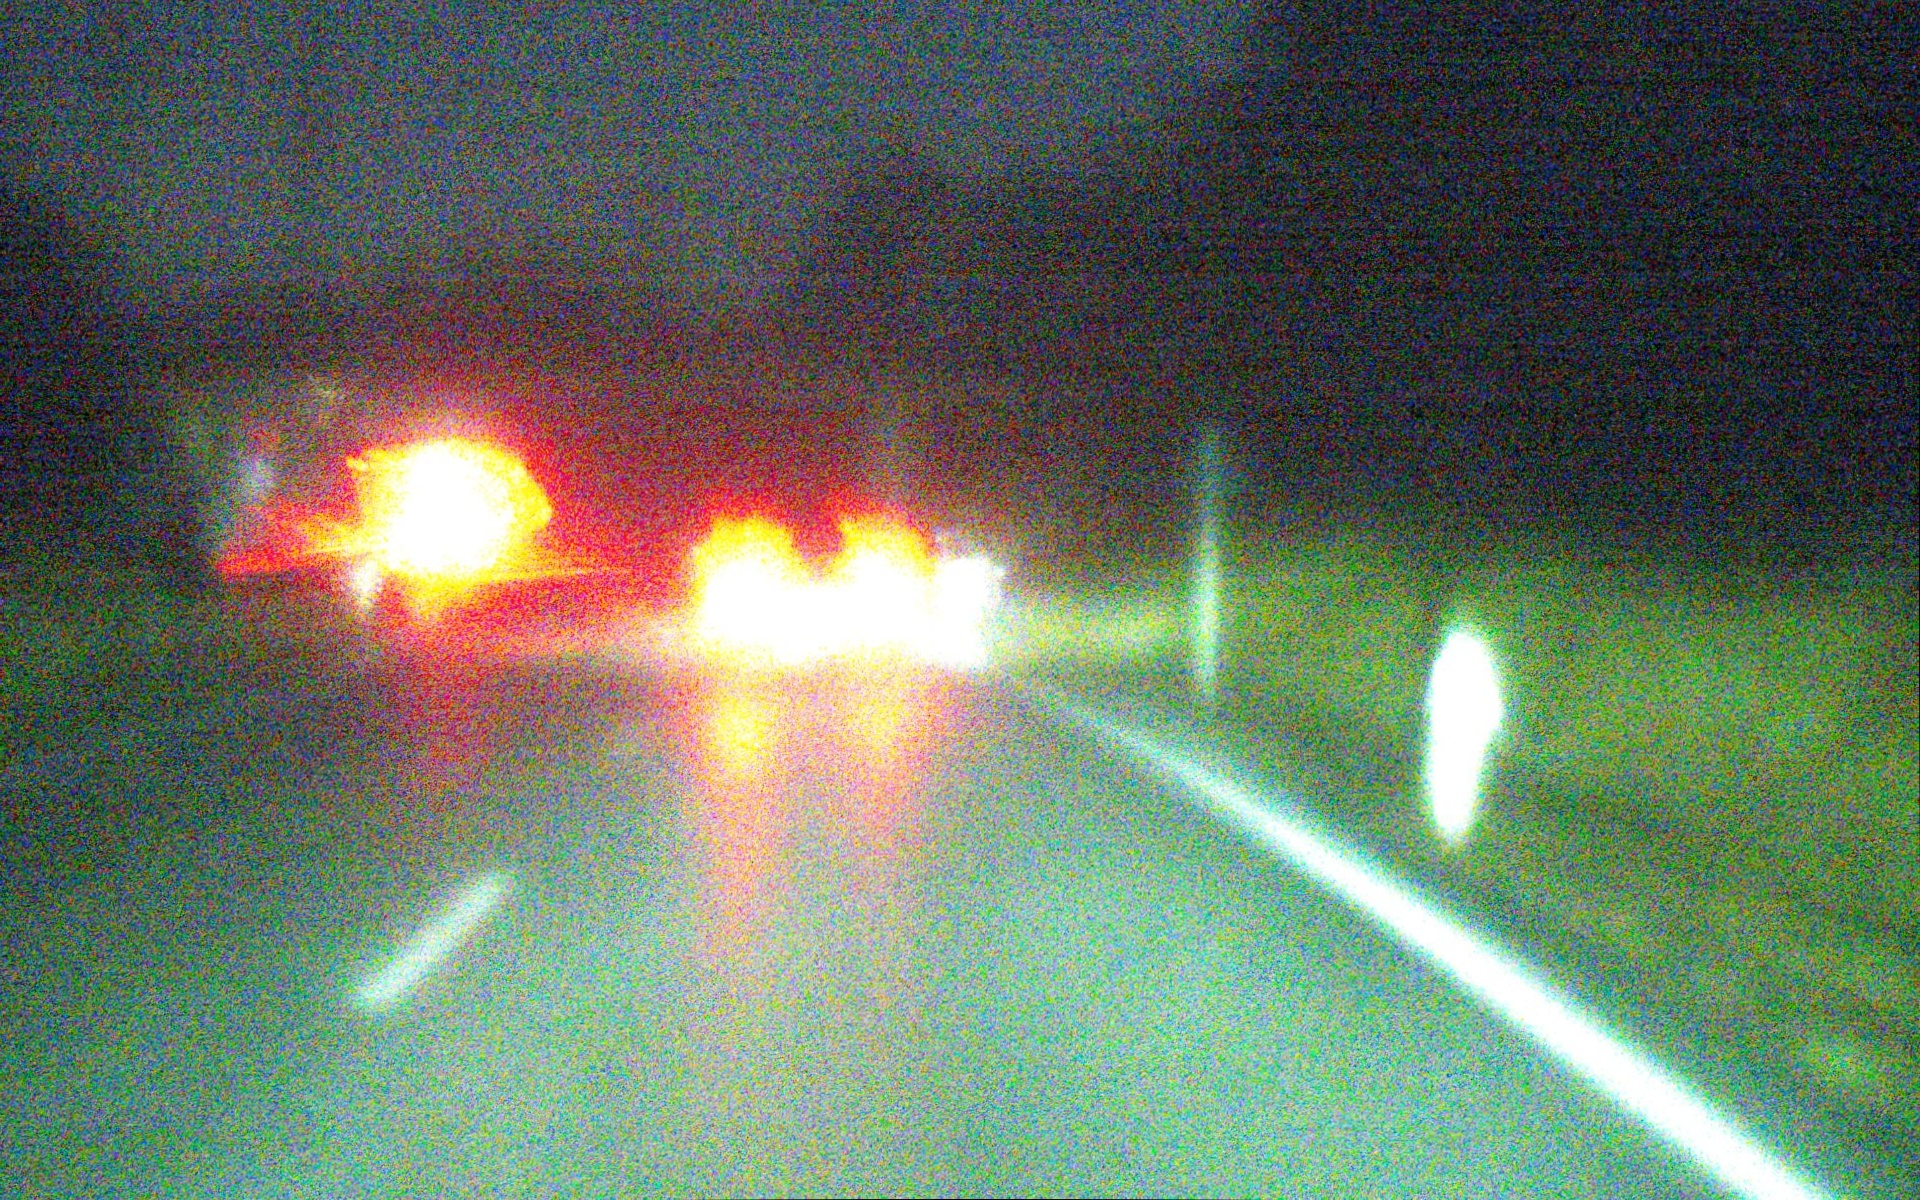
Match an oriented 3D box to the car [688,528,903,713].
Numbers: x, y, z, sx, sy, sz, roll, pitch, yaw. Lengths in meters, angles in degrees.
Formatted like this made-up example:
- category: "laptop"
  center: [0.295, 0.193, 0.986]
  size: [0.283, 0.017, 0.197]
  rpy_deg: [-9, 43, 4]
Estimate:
- category: "car"
  center: [-1.669, 0.140, 34.642]
  size: [1.993, 1.622, 4.985]
  rpy_deg: [1, 2, -3]
